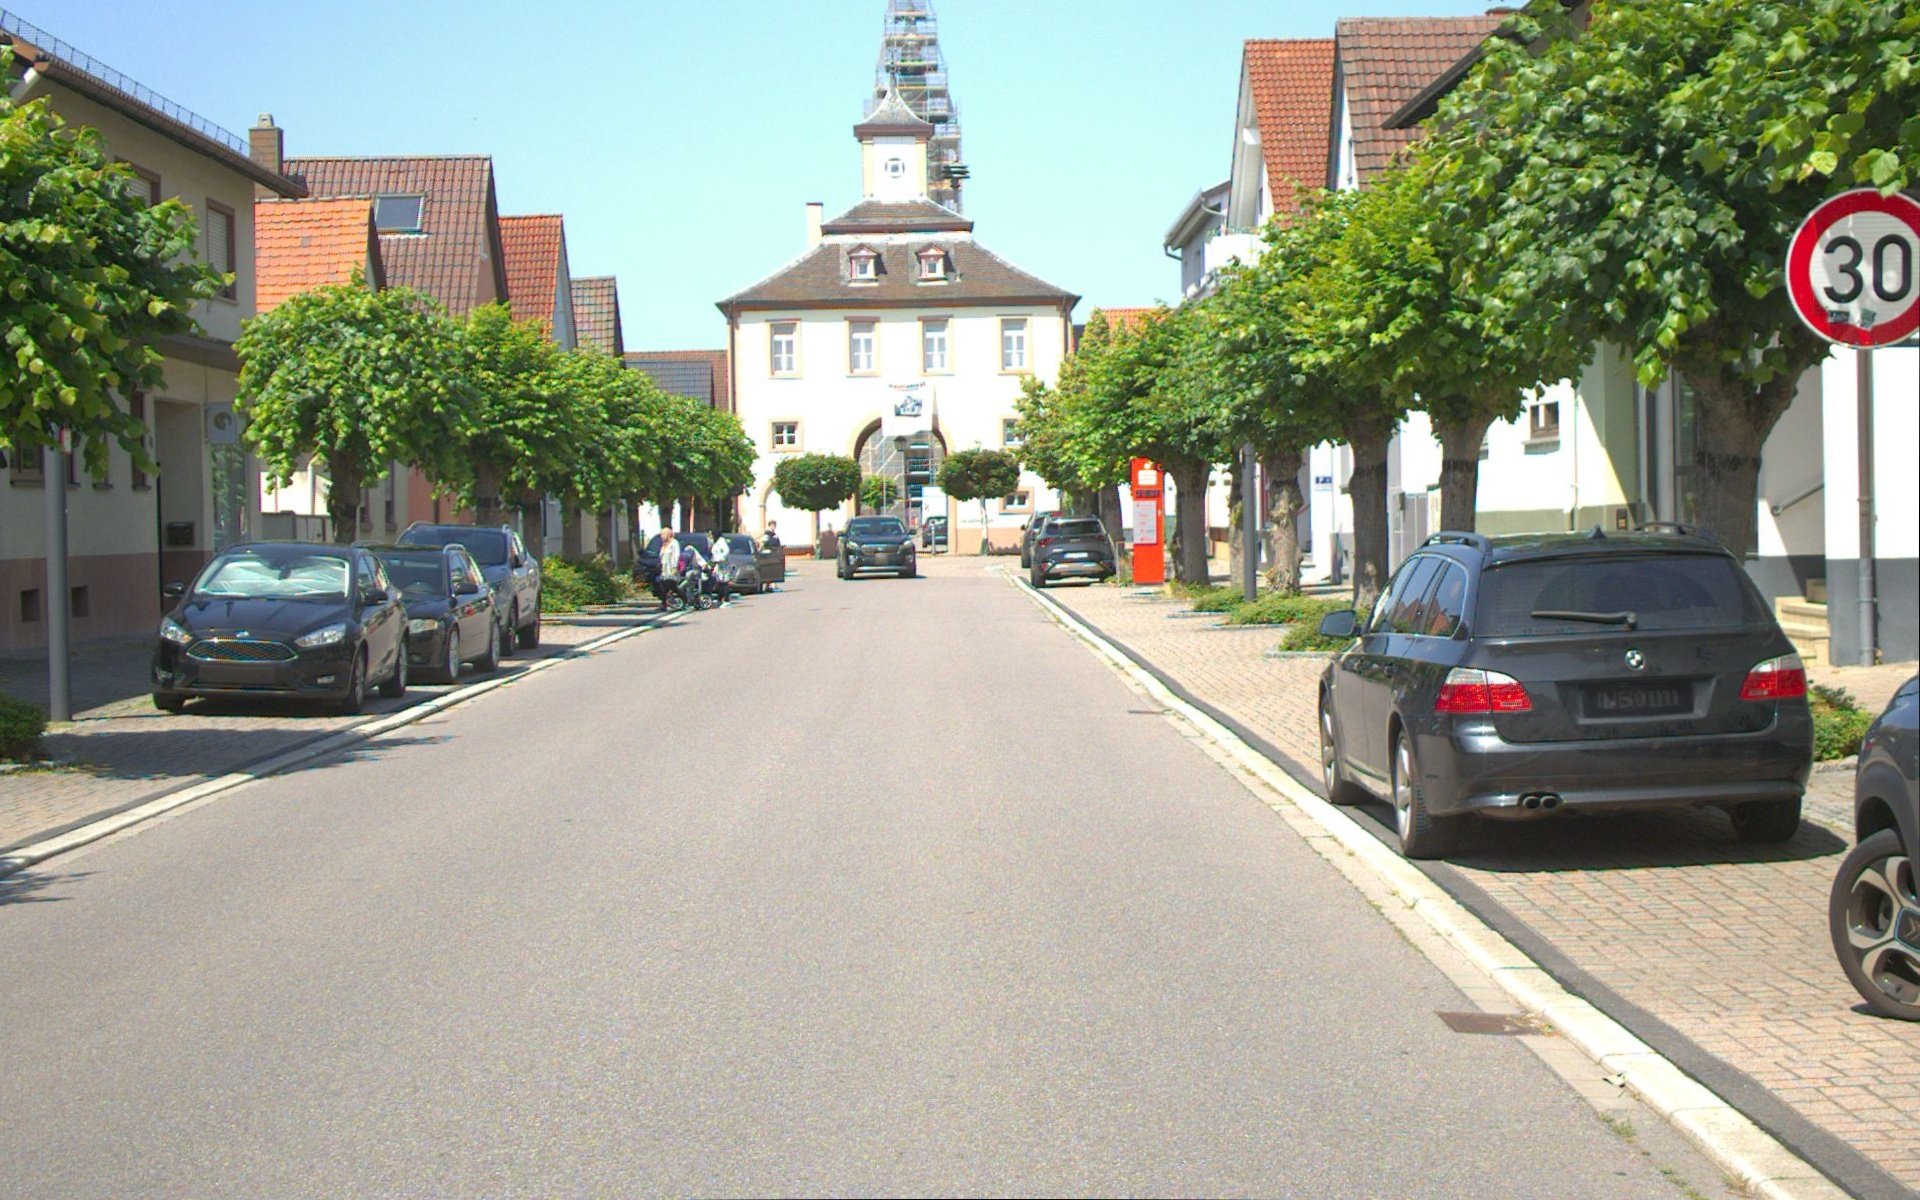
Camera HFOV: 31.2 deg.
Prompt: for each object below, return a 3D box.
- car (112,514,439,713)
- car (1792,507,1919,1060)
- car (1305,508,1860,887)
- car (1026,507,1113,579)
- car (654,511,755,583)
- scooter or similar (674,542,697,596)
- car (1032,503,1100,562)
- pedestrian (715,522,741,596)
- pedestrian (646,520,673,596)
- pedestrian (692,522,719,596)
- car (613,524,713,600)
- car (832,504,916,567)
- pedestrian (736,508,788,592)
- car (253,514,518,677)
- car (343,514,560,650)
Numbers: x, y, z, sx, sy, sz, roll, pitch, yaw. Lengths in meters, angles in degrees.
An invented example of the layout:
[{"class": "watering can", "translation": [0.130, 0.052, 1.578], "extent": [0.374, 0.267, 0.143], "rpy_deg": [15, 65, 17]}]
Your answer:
[{"class": "car", "translation": [-6.124, 0.054, 31.305], "extent": [1.993, 1.606, 4.689], "rpy_deg": [1, 2, 1]}, {"class": "car", "translation": [3.712, 0.540, 9.299], "extent": [1.837, 1.602, 4.001], "rpy_deg": [-1, 1, -2]}, {"class": "car", "translation": [2.889, 0.365, 16.905], "extent": [1.837, 1.550, 4.314], "rpy_deg": [-2, 1, -1]}, {"class": "car", "translation": [2.508, -1.336, 79.653], "extent": [1.837, 1.550, 4.314], "rpy_deg": [-2, 1, 0]}, {"class": "car", "translation": [-5.899, -1.215, 79.740], "extent": [1.993, 1.606, 3.855], "rpy_deg": [1, 1, 1]}, {"class": "scooter or similar", "translation": [-5.171, -0.582, 64.734], "extent": [0.330, 0.999, 0.241], "rpy_deg": [0, 2, 37]}, {"class": "car", "translation": [3.005, -1.931, 97.862], "extent": [1.837, 1.550, 4.314], "rpy_deg": [-2, 1, 1]}, {"class": "pedestrian", "translation": [-4.401, -0.773, 65.196], "extent": [0.358, 1.398, 0.319], "rpy_deg": [0, 2, 37]}, {"class": "pedestrian", "translation": [-5.580, -0.775, 63.837], "extent": [0.358, 1.398, 0.319], "rpy_deg": [0, 2, 37]}, {"class": "pedestrian", "translation": [-4.811, -0.777, 64.996], "extent": [0.358, 1.398, 0.319], "rpy_deg": [0, 2, 37]}, {"class": "car", "translation": [-6.367, -0.831, 74.004], "extent": [1.757, 1.550, 4.020], "rpy_deg": [-1, 1, 0]}, {"class": "car", "translation": [-2.314, -1.702, 91.351], "extent": [1.993, 1.606, 4.507], "rpy_deg": [1, 1, -4]}, {"class": "pedestrian", "translation": [-4.762, -1.194, 82.496], "extent": [0.886, 2.007, 0.833], "rpy_deg": [1, 1, 43]}, {"class": "car", "translation": [-6.066, -0.074, 36.851], "extent": [1.993, 1.606, 4.689], "rpy_deg": [1, 1, 1]}, {"class": "car", "translation": [-6.404, -0.272, 43.820], "extent": [1.993, 1.606, 4.689], "rpy_deg": [-1, 1, 1]}]
